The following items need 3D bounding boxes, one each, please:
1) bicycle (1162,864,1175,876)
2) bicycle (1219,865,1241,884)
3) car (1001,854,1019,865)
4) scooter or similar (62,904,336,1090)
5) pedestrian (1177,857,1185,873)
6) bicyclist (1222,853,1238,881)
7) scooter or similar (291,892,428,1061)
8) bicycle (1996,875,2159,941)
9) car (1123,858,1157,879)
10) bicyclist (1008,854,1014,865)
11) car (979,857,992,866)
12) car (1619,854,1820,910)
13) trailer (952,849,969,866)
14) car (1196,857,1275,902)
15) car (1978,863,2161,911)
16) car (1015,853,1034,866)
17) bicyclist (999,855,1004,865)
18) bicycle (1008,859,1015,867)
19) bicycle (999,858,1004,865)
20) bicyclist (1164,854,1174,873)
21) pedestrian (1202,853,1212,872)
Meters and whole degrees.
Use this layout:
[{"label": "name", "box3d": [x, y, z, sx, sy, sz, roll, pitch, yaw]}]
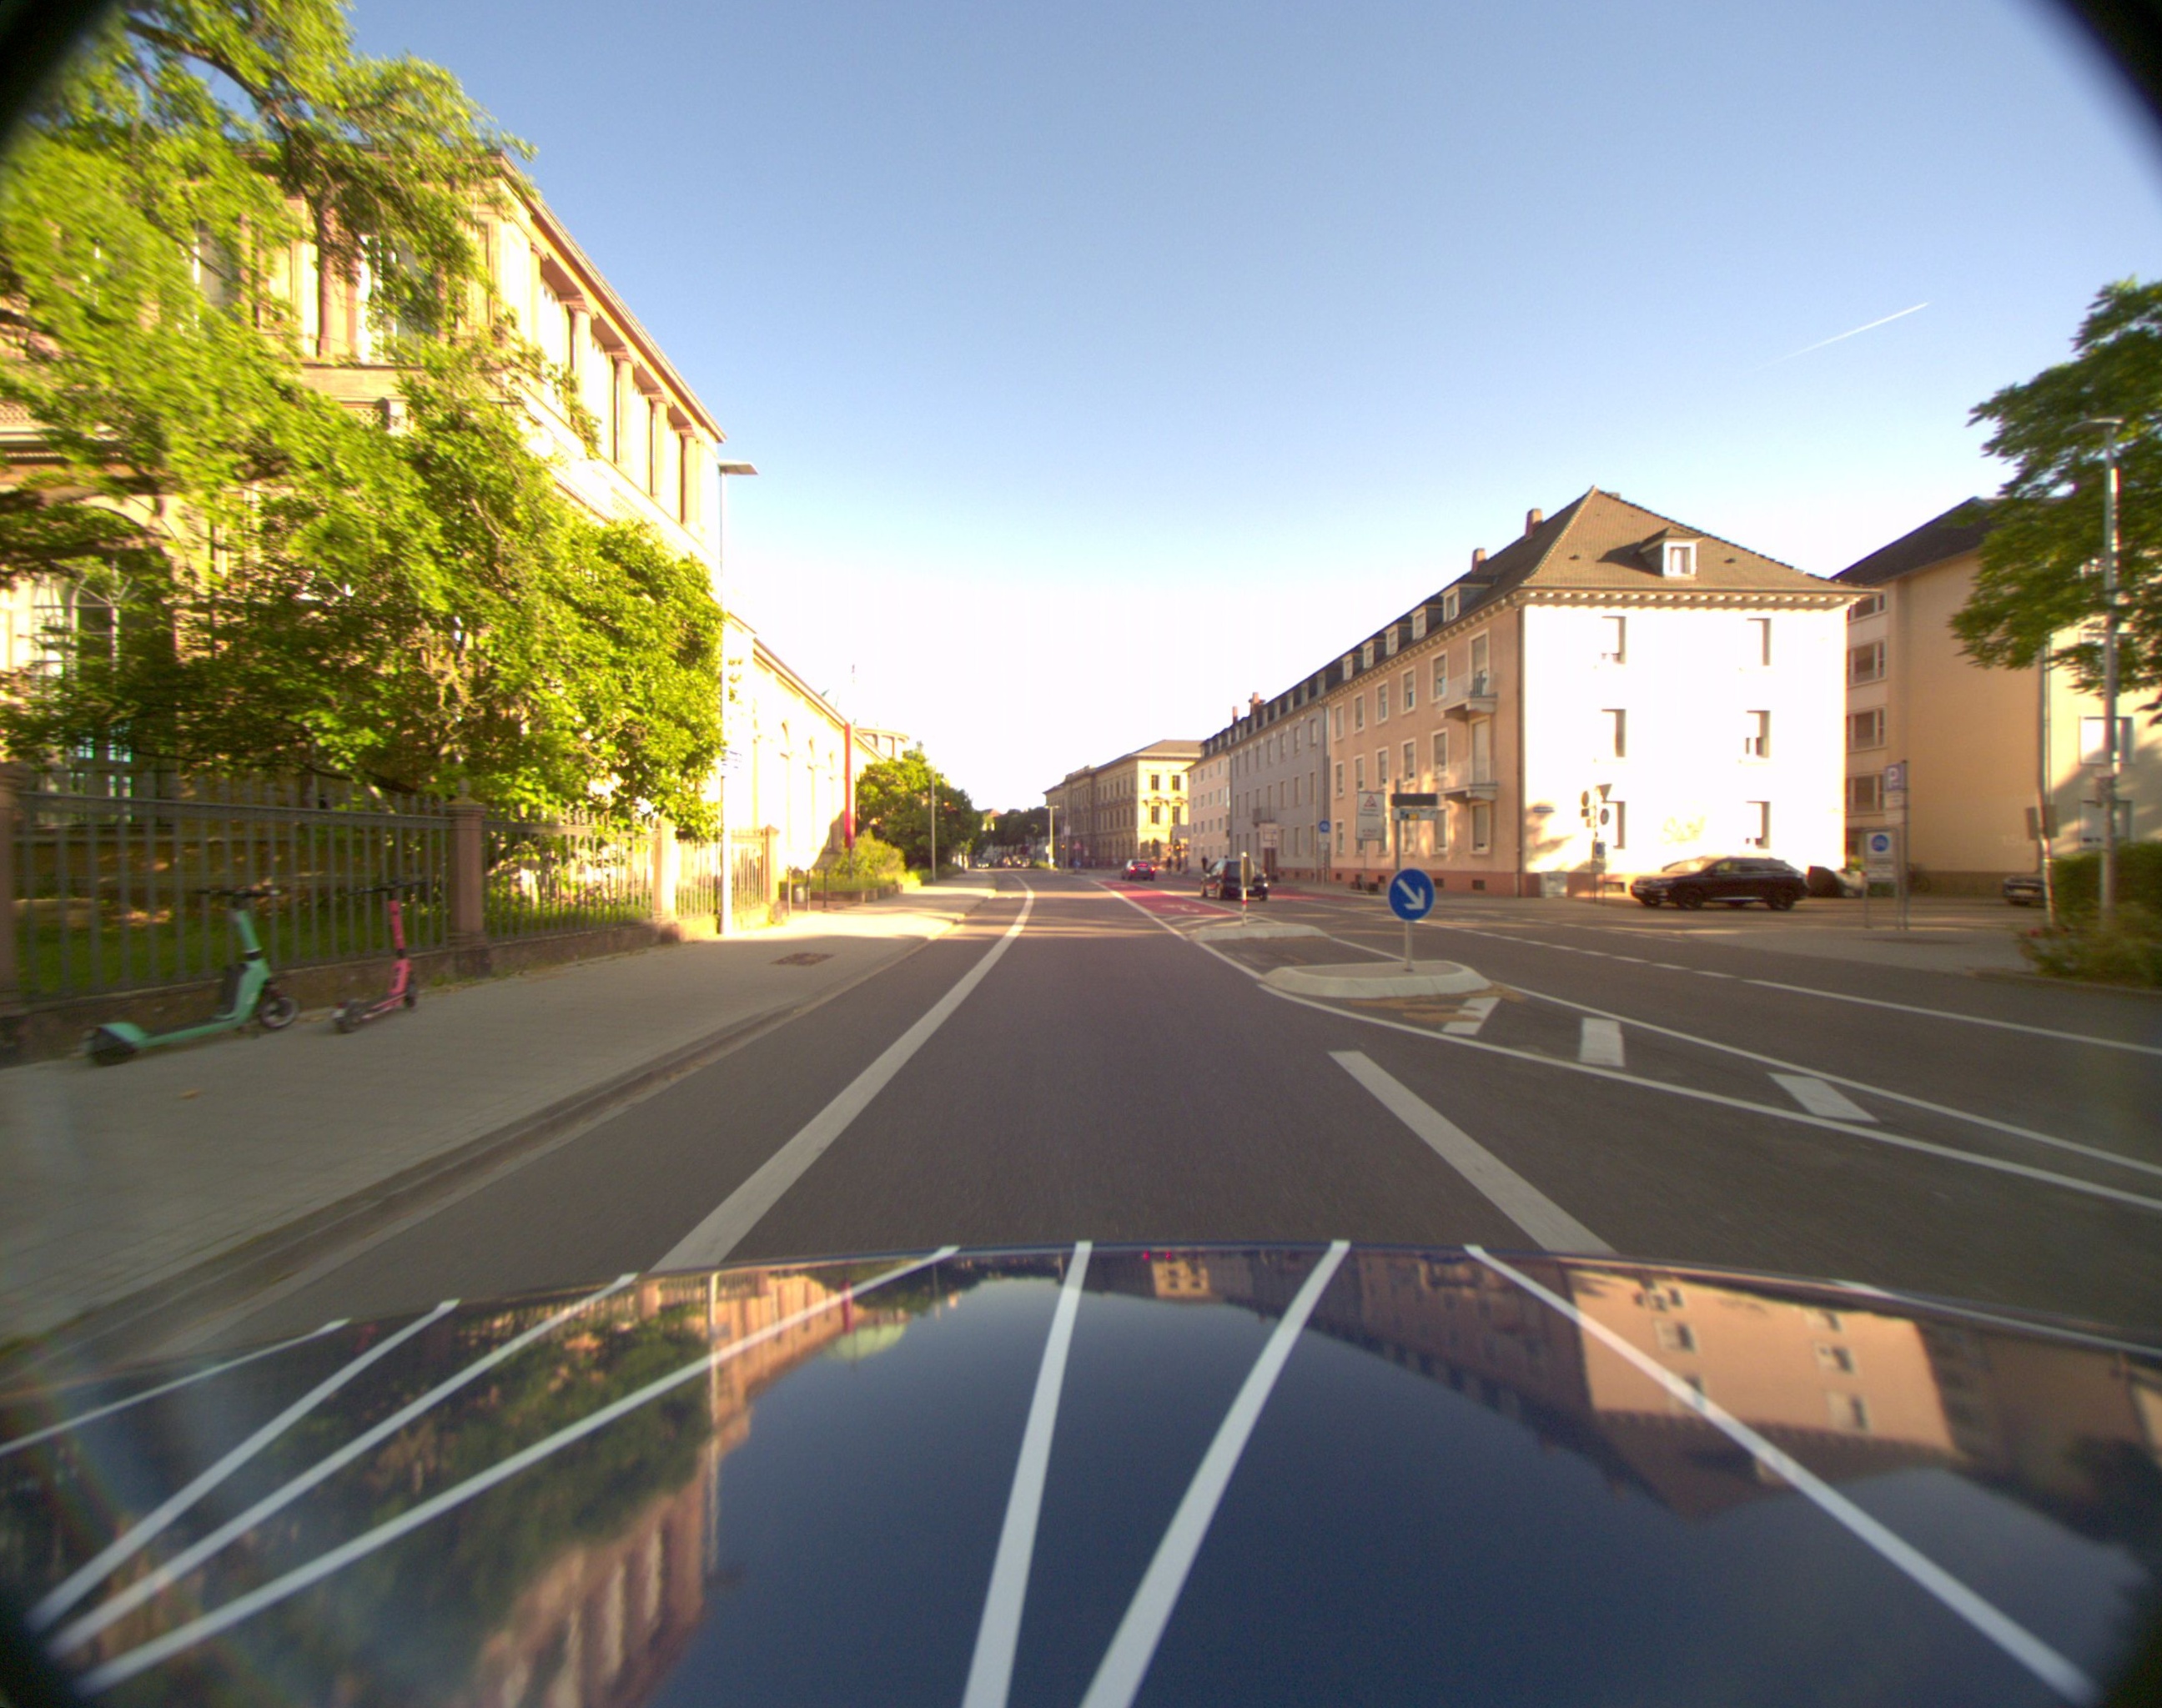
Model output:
[{"label": "bicycle", "box3d": [8.057, 1.470, 69.971, 0.648, 0.990, 2.107, 1, 0, -9]}, {"label": "bicycle", "box3d": [8.141, 1.120, 41.680, 0.653, 0.990, 2.108, 1, 0, -3]}, {"label": "car", "box3d": [-11.625, 0.853, 124.594, 1.999, 1.739, 4.740, 0, 0, -16]}, {"label": "scooter or similar", "box3d": [-6.356, 0.971, 5.581, 0.482, 1.116, 1.336, 1, 0, -2]}, {"label": "pedestrian", "box3d": [10.305, 1.157, 78.159, 0.633, 1.574, 0.817, -3, 1, -6]}, {"label": "bicyclist", "box3d": [8.173, 0.722, 41.632, 0.658, 1.476, 0.665, 3, 0, -3]}, {"label": "scooter or similar", "box3d": [-6.040, 0.970, 6.417, 0.298, 1.232, 1.160, 1, 0, -14]}, {"label": "bicycle", "box3d": [18.981, 1.019, 14.497, 2.325, 1.222, 0.560, 0, 0, 1]}, {"label": "car", "box3d": [3.978, 0.955, 51.969, 1.816, 1.411, 4.554, 0, 0, -2]}, {"label": "bicyclist", "box3d": [-10.387, 0.772, 113.340, 0.805, 1.598, 0.824, 0, 0, -11]}, {"label": "car", "box3d": [-15.098, 1.112, 120.010, 1.556, 1.288, 3.632, 3, 0, -17]}, {"label": "car", "box3d": [20.262, 0.869, 24.282, 4.585, 1.668, 2.061, 0, 0, 3]}, {"label": "trailer", "box3d": [-17.913, 0.522, 112.731, 2.087, 2.513, 4.487, 2, -1, -12]}, {"label": "car", "box3d": [5.356, 0.843, 26.897, 1.763, 1.450, 3.999, 0, 0, -4]}, {"label": "car", "box3d": [31.633, 1.028, 24.043, 4.197, 1.412, 1.958, 0, 0, 0]}, {"label": "car", "box3d": [-8.612, 0.746, 115.034, 2.076, 1.904, 5.026, 0, 0, -14]}, {"label": "bicyclist", "box3d": [-12.860, 0.943, 122.577, 0.675, 1.643, 0.886, -1, 1, -13]}, {"label": "bicycle", "box3d": [-10.382, 1.358, 113.261, 0.831, 1.136, 1.967, -1, 0, -11]}, {"label": "bicycle", "box3d": [-12.855, 1.257, 122.593, 0.671, 1.066, 1.751, -1, 0, -13]}, {"label": "bicyclist", "box3d": [8.088, 0.855, 69.991, 0.638, 1.700, 0.738, 3, 0, -10]}, {"label": "pedestrian", "box3d": [12.455, 0.882, 75.339, 0.633, 1.835, 1.012, -3, 1, -6]}]
